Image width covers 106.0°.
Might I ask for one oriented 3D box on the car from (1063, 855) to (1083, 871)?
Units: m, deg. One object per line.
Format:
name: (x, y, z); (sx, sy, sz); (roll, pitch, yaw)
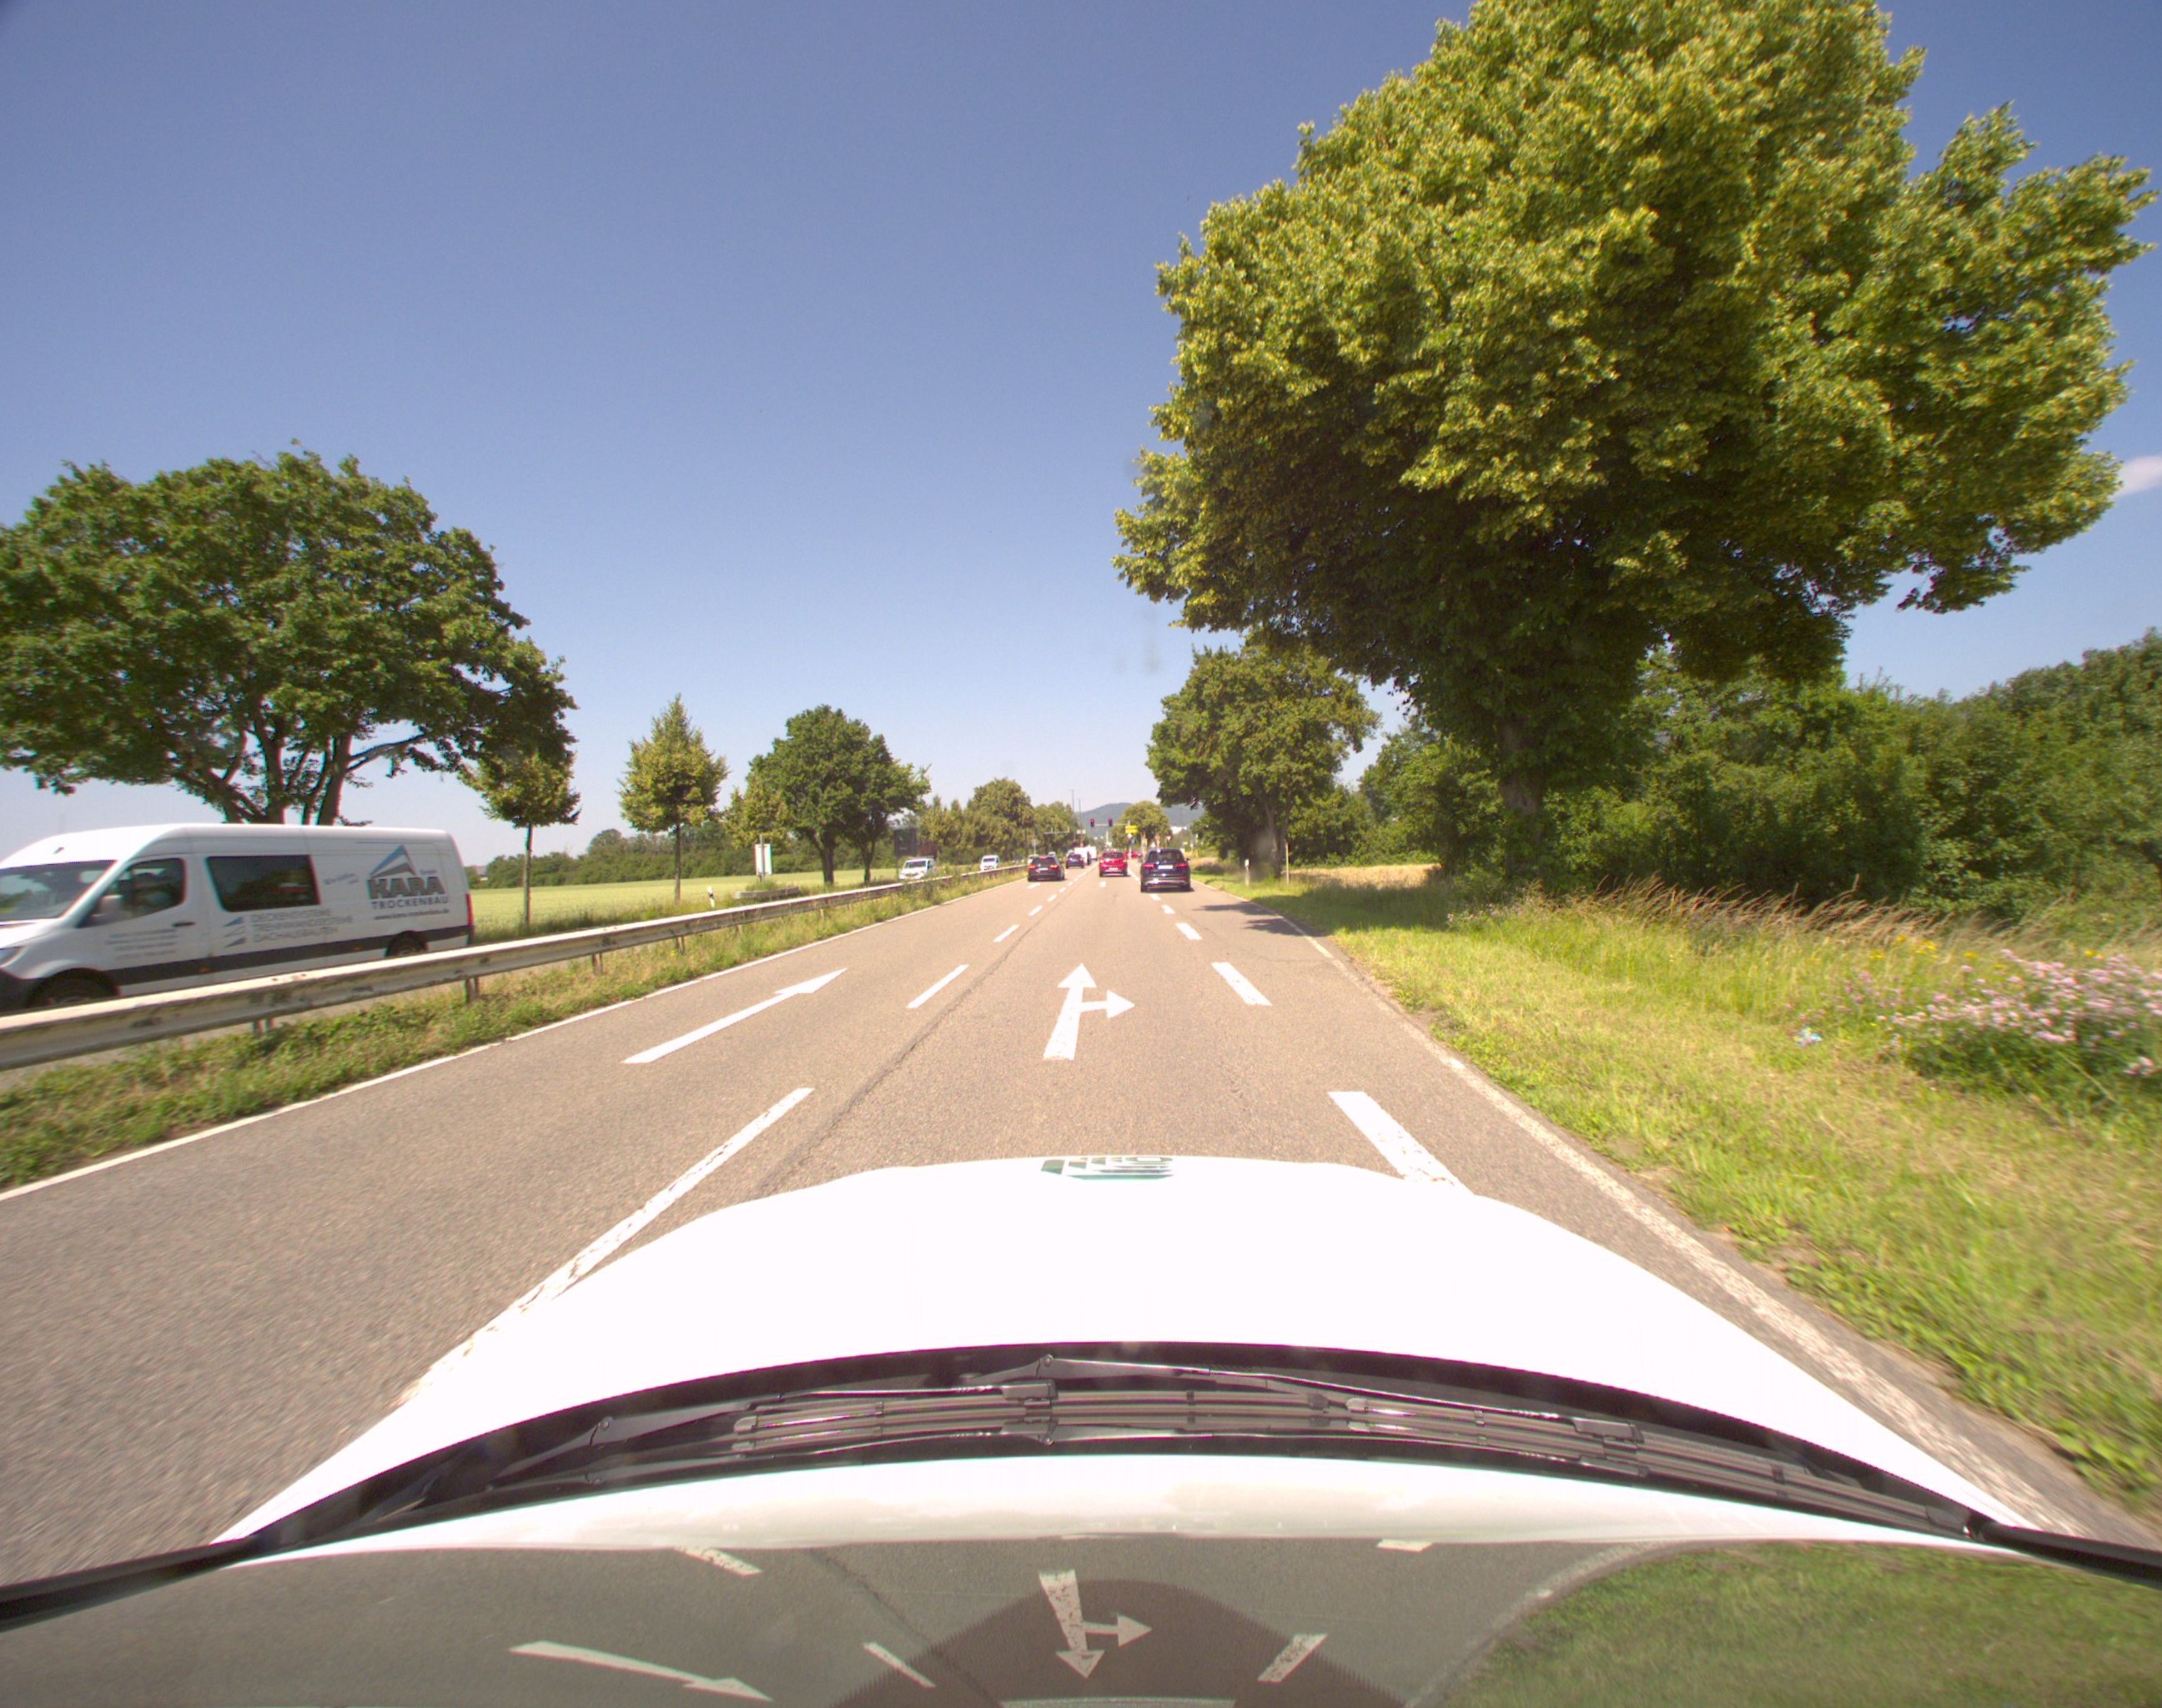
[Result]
car: (-0.767, 0.829, 79.093); (1.710, 1.465, 4.032); (-2, 0, 2)

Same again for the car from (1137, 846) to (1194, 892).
car: (3.192, 0.534, 31.552); (1.985, 1.616, 4.344); (-1, 0, 4)

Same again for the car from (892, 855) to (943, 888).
car: (-10.879, 1.140, 54.511); (2.028, 2.013, 4.539); (-3, 0, 5)

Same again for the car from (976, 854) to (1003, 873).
car: (-10.117, 1.045, 90.435); (1.985, 1.960, 4.932); (-4, 0, 3)

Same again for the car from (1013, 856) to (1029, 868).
car: (-9.020, 1.145, 122.991); (1.986, 1.662, 4.482); (-2, 0, 1)

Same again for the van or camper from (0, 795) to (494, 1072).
van or camper: (-12.607, 0.895, 12.016); (2.376, 2.948, 7.095); (-3, 0, 2)

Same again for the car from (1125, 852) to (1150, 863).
car: (10.223, 0.594, 147.296); (3.958, 1.766, 1.942); (-3, 0, 14)

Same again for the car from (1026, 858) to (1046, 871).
car: (-5.636, 1.299, 103.095); (1.986, 1.557, 4.483); (-3, 0, 2)

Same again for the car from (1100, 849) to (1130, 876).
car: (2.135, 0.510, 50.149); (1.742, 1.575, 3.680); (-1, 0, 4)

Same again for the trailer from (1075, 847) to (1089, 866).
trailer: (0.147, 0.301, 94.782); (1.495, 2.173, 4.176); (-3, 0, 2)

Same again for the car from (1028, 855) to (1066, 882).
car: (-1.845, 0.757, 45.115); (1.733, 1.380, 4.457); (-1, 0, 2)

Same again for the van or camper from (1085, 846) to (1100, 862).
van or camper: (1.867, -0.006, 130.347); (2.170, 2.302, 4.830); (-3, 0, 3)
